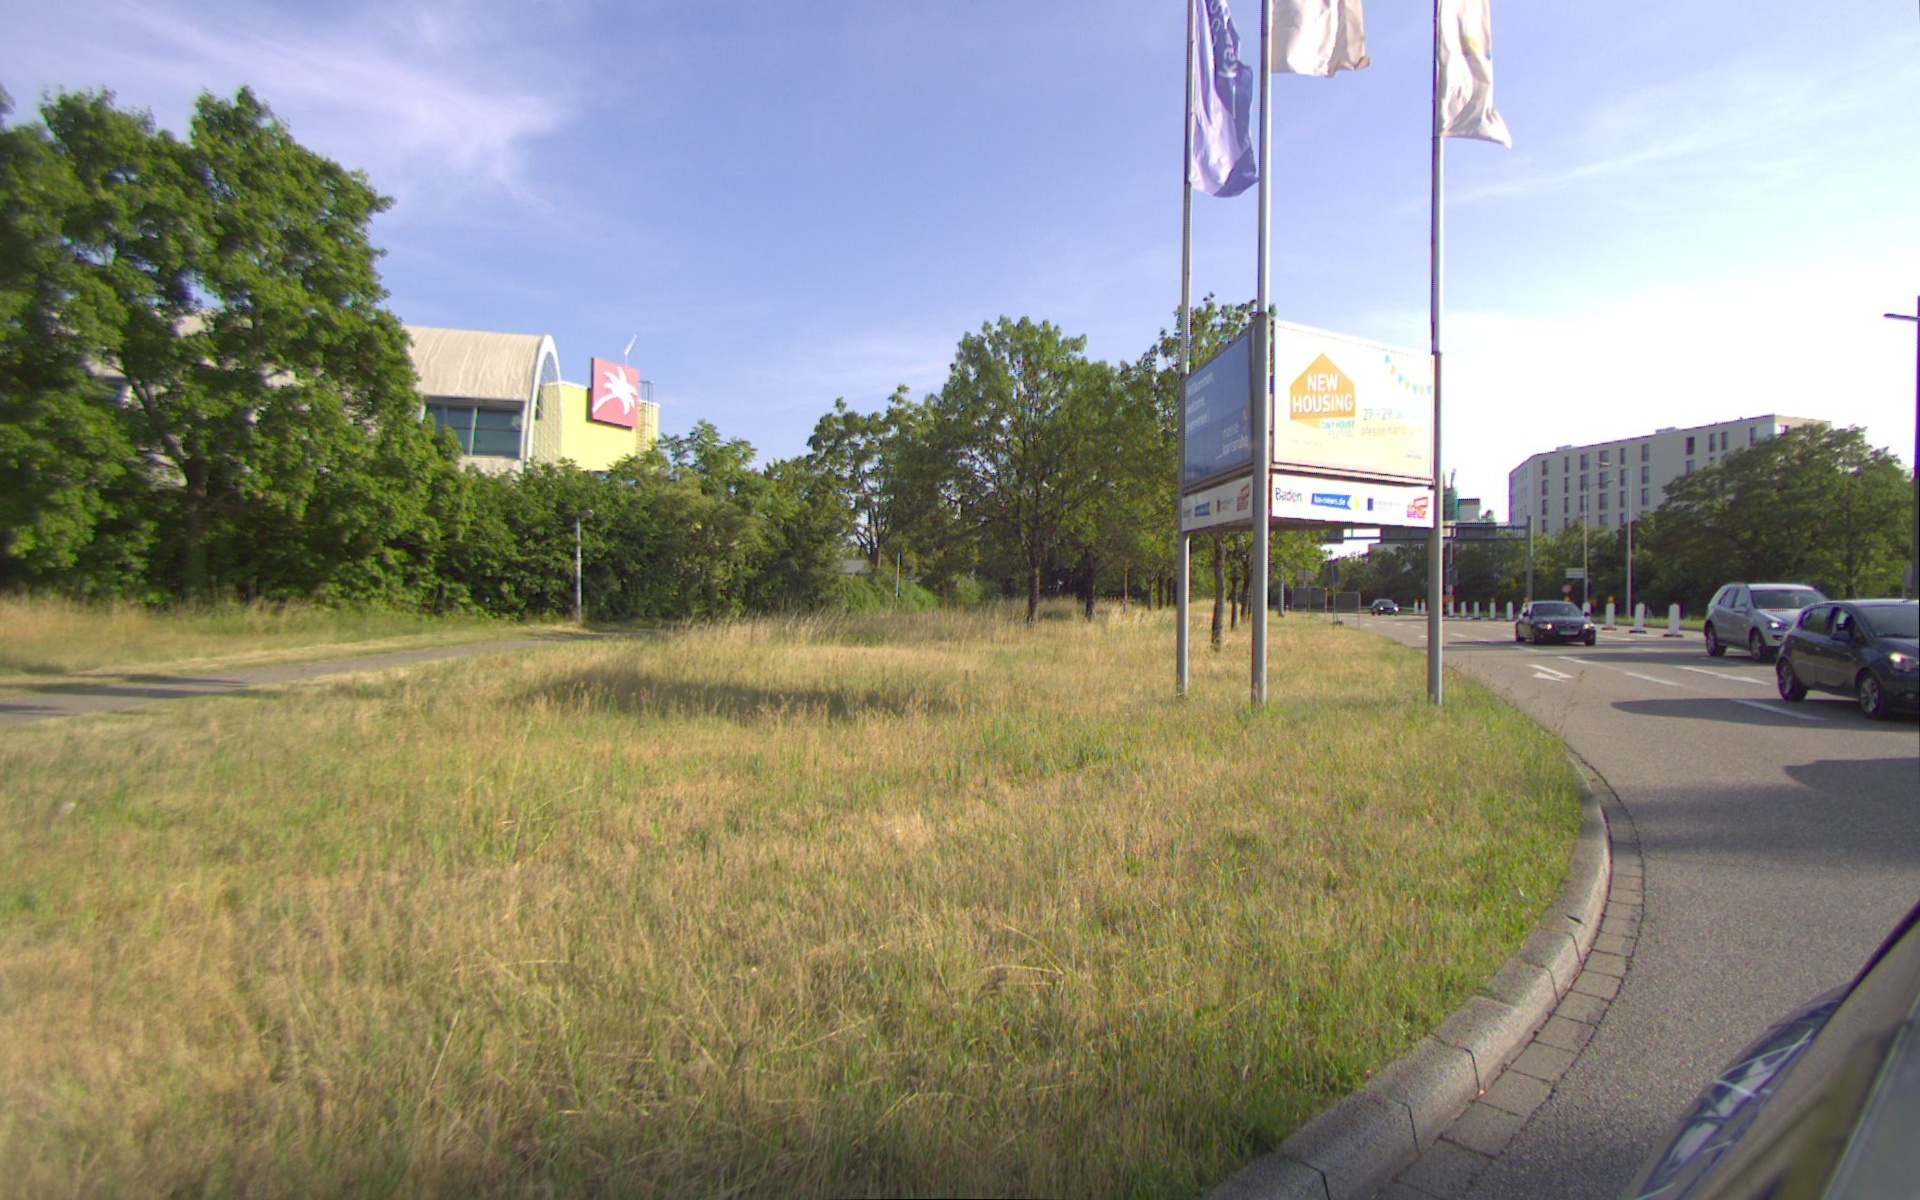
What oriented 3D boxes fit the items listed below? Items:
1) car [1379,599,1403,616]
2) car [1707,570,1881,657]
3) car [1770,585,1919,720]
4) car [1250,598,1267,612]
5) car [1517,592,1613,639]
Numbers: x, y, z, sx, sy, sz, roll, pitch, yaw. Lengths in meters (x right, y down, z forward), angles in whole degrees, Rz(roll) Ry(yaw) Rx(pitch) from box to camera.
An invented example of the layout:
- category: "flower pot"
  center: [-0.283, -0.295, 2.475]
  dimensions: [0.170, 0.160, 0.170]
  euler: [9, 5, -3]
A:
- category: "car"
  center: [39.339, 0.690, 92.458]
  dimensions: [1.873, 1.474, 3.882]
  euler: [1, 1, 21]
- category: "car"
  center: [19.441, 0.298, 23.841]
  dimensions: [1.880, 1.847, 4.323]
  euler: [-2, -1, 22]
- category: "car"
  center: [12.330, 0.597, 13.065]
  dimensions: [1.726, 1.524, 4.192]
  euler: [0, 0, 21]
- category: "car"
  center: [45.760, 0.717, 155.078]
  dimensions: [1.830, 2.039, 4.170]
  euler: [-1, 0, 7]
- category: "car"
  center: [19.813, 0.489, 33.354]
  dimensions: [1.879, 1.403, 4.326]
  euler: [-2, -1, 20]
